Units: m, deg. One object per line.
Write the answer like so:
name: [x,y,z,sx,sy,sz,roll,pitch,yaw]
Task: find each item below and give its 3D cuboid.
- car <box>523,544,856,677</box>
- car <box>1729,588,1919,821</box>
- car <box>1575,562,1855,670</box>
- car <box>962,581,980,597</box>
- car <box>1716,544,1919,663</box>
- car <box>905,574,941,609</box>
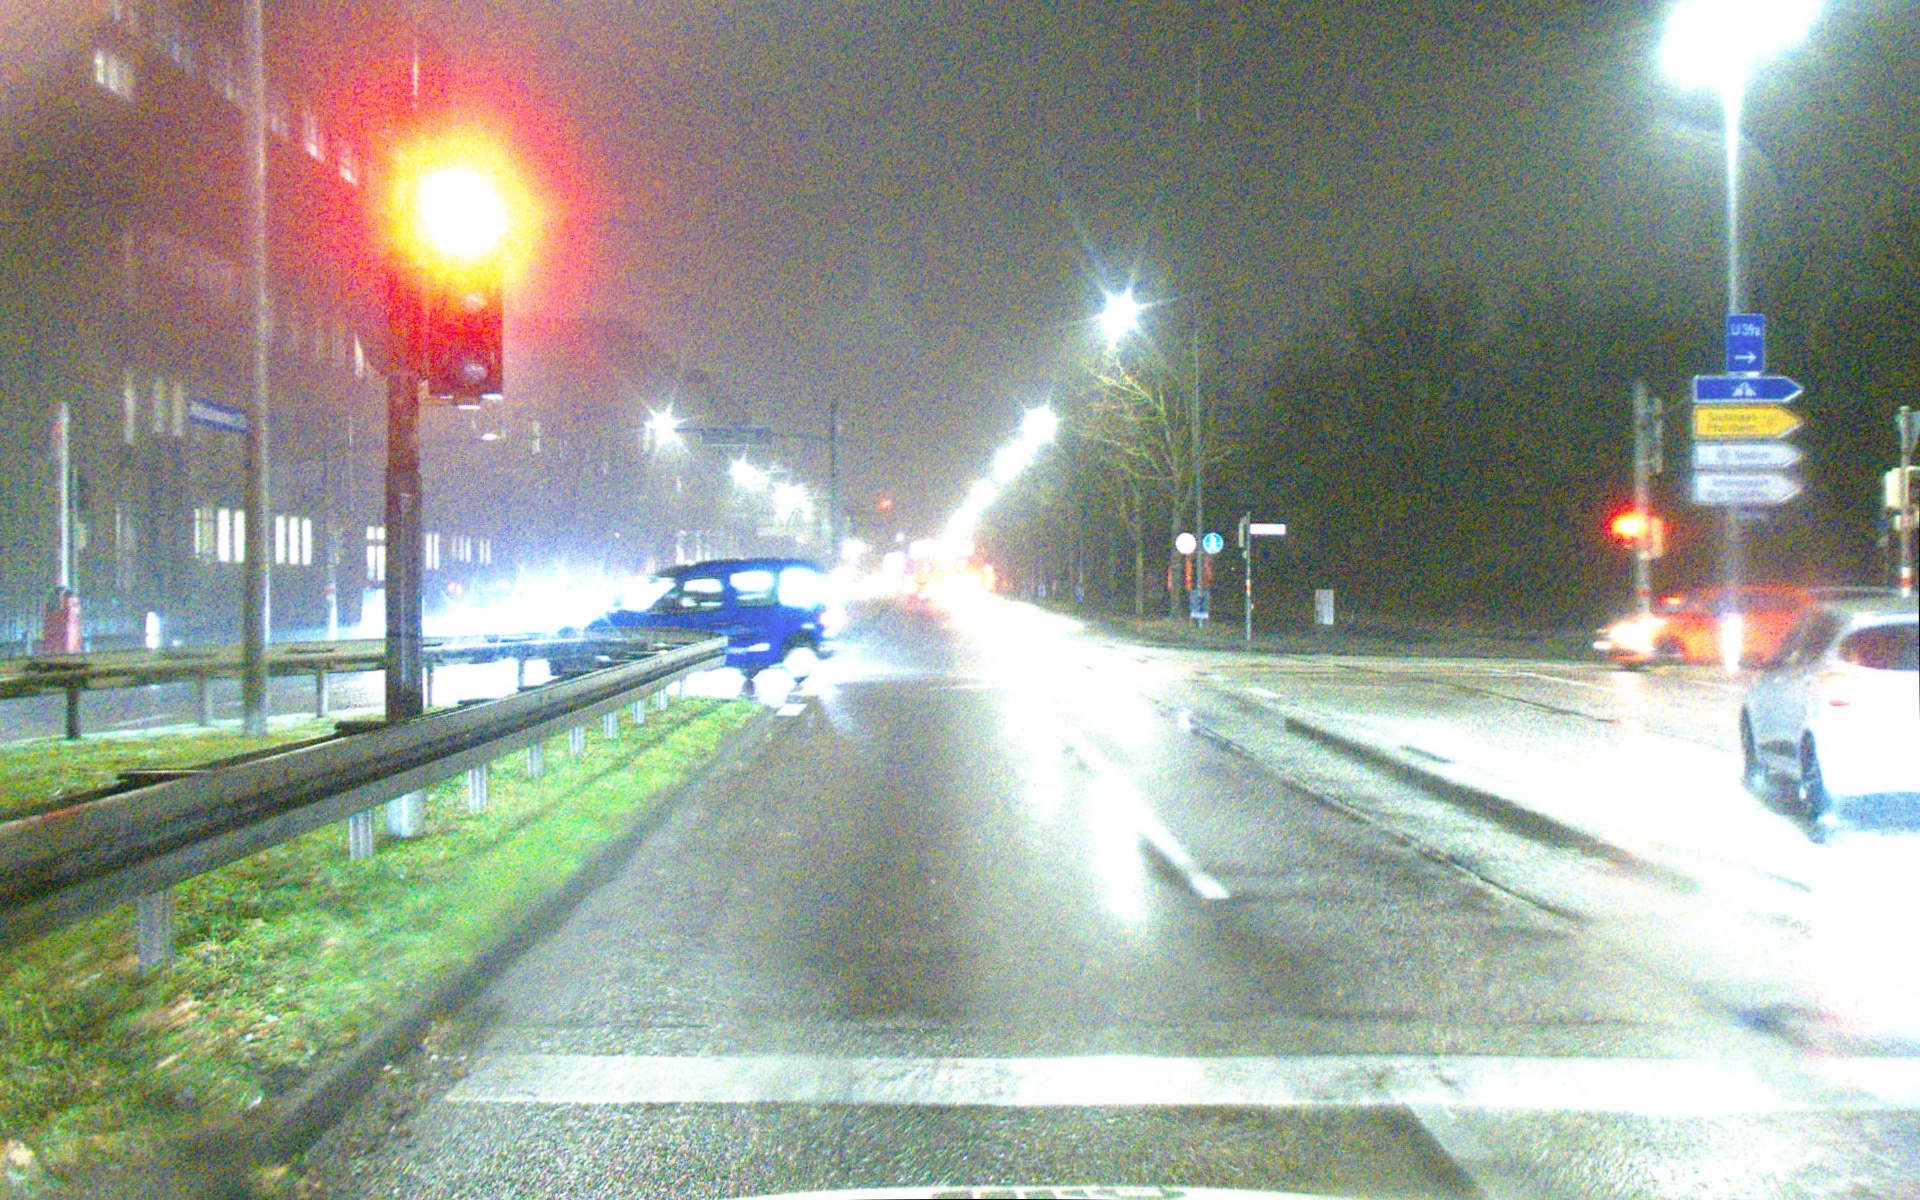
car: [-3.913,0.175,24.167,4.450,1.780,1.838,1,0,-33]
car: [6.923,0.690,12.240,1.599,1.484,3.596,1,0,15]
car: [13.126,0.288,28.942,3.984,1.616,1.912,3,-1,3]
car: [1.296,-1.210,188.866,1.953,1.790,3.999,1,0,-1]
car: [17.618,0.084,32.211,4.808,2.182,2.143,1,0,5]
car: [-2.297,-0.524,101.150,1.954,2.049,4.628,1,0,-4]
